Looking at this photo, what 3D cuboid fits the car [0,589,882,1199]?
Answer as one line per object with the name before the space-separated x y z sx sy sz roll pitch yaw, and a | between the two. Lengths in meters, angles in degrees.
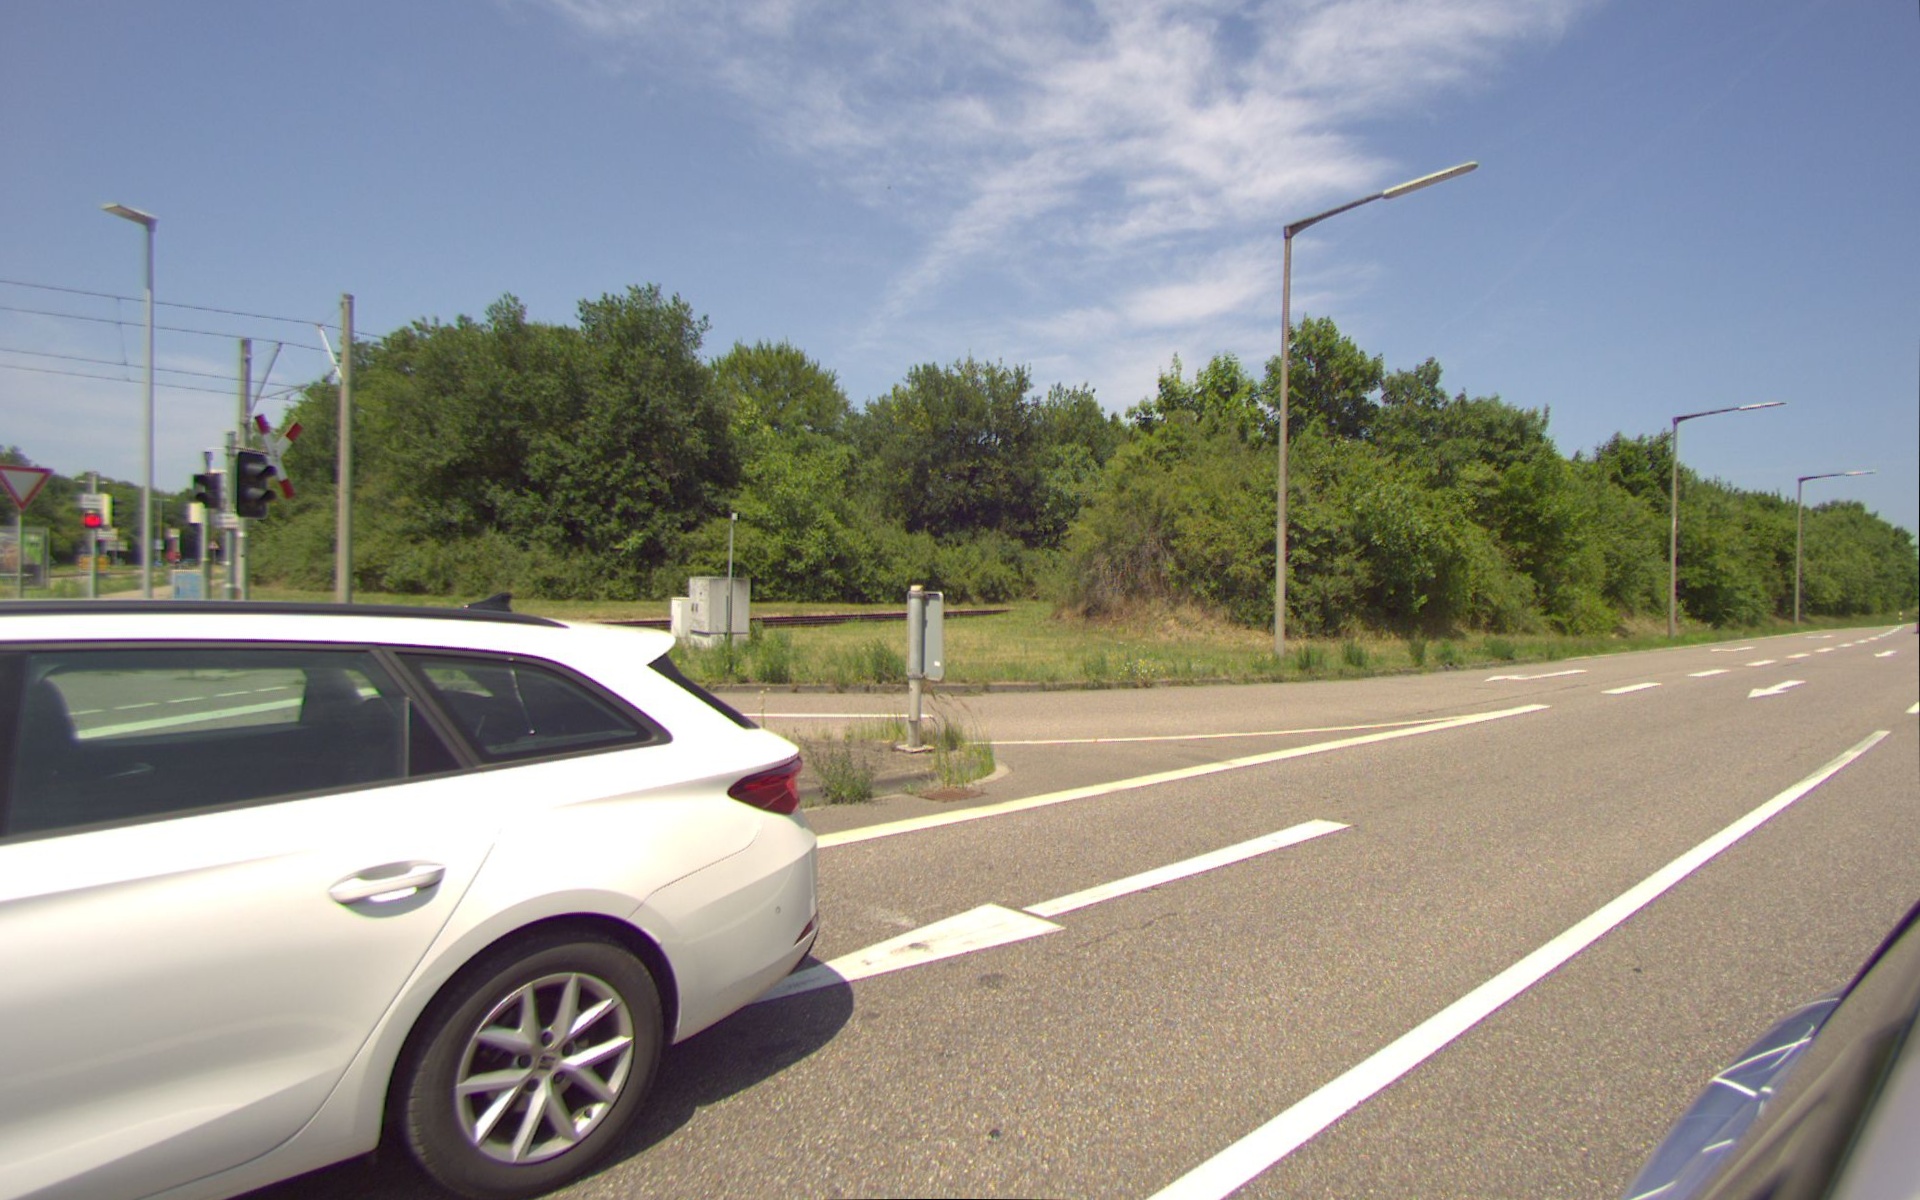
car | -2.413 0.690 2.263 4.375 1.407 1.684 0 1 -43
